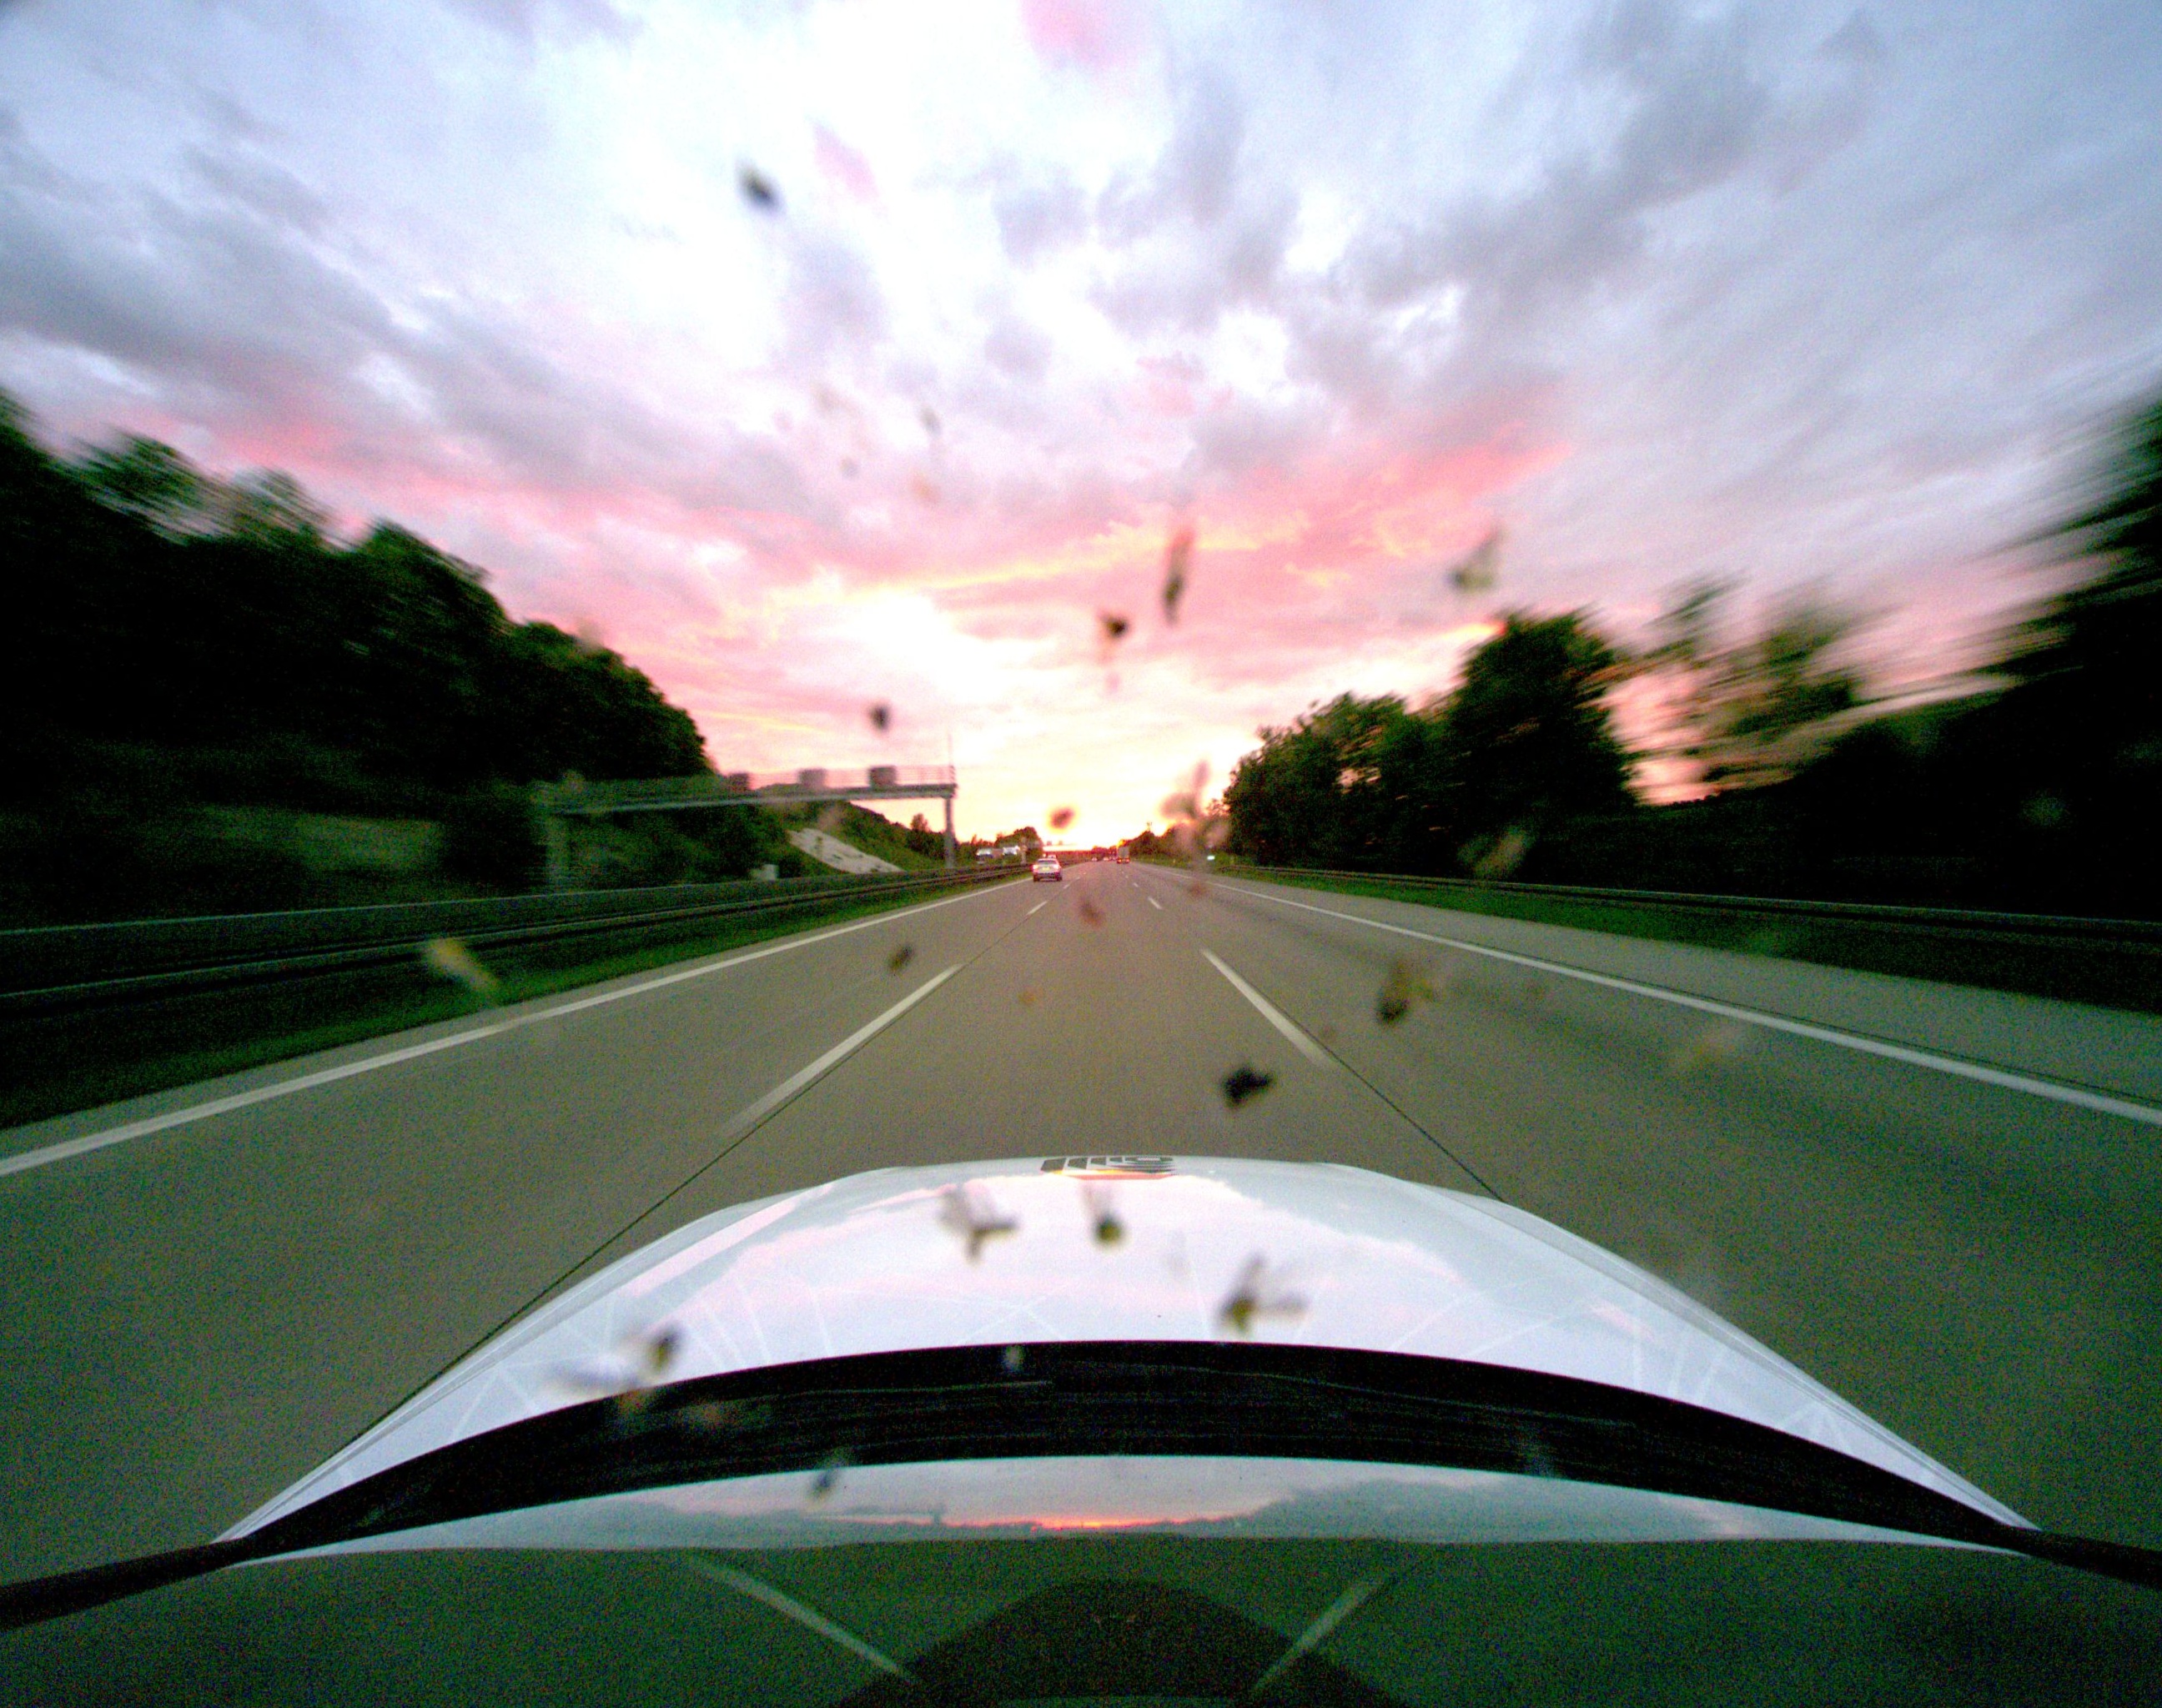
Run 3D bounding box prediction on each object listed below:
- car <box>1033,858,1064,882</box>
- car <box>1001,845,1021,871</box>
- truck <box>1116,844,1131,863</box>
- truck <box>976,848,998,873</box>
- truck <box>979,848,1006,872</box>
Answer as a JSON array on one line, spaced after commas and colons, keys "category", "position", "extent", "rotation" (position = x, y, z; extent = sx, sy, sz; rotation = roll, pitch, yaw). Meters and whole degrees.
[{"category": "car", "position": [-2.144, 1.036, 55.305], "extent": [1.783, 1.501, 5.039], "rotation": [-1, 0, 1]}, {"category": "car", "position": [-12.601, 0.786, 146.792], "extent": [2.788, 4.487, 5.931], "rotation": [-2, 0, 1]}, {"category": "truck", "position": [9.671, -0.061, 184.657], "extent": [3.231, 4.127, 9.795], "rotation": [-3, 0, 3]}, {"category": "truck", "position": [-16.676, 1.133, 145.297], "extent": [2.846, 4.210, 5.867], "rotation": [-2, 0, 2]}, {"category": "truck", "position": [-16.427, 1.118, 151.904], "extent": [2.884, 4.210, 13.608], "rotation": [-2, 0, 2]}]
